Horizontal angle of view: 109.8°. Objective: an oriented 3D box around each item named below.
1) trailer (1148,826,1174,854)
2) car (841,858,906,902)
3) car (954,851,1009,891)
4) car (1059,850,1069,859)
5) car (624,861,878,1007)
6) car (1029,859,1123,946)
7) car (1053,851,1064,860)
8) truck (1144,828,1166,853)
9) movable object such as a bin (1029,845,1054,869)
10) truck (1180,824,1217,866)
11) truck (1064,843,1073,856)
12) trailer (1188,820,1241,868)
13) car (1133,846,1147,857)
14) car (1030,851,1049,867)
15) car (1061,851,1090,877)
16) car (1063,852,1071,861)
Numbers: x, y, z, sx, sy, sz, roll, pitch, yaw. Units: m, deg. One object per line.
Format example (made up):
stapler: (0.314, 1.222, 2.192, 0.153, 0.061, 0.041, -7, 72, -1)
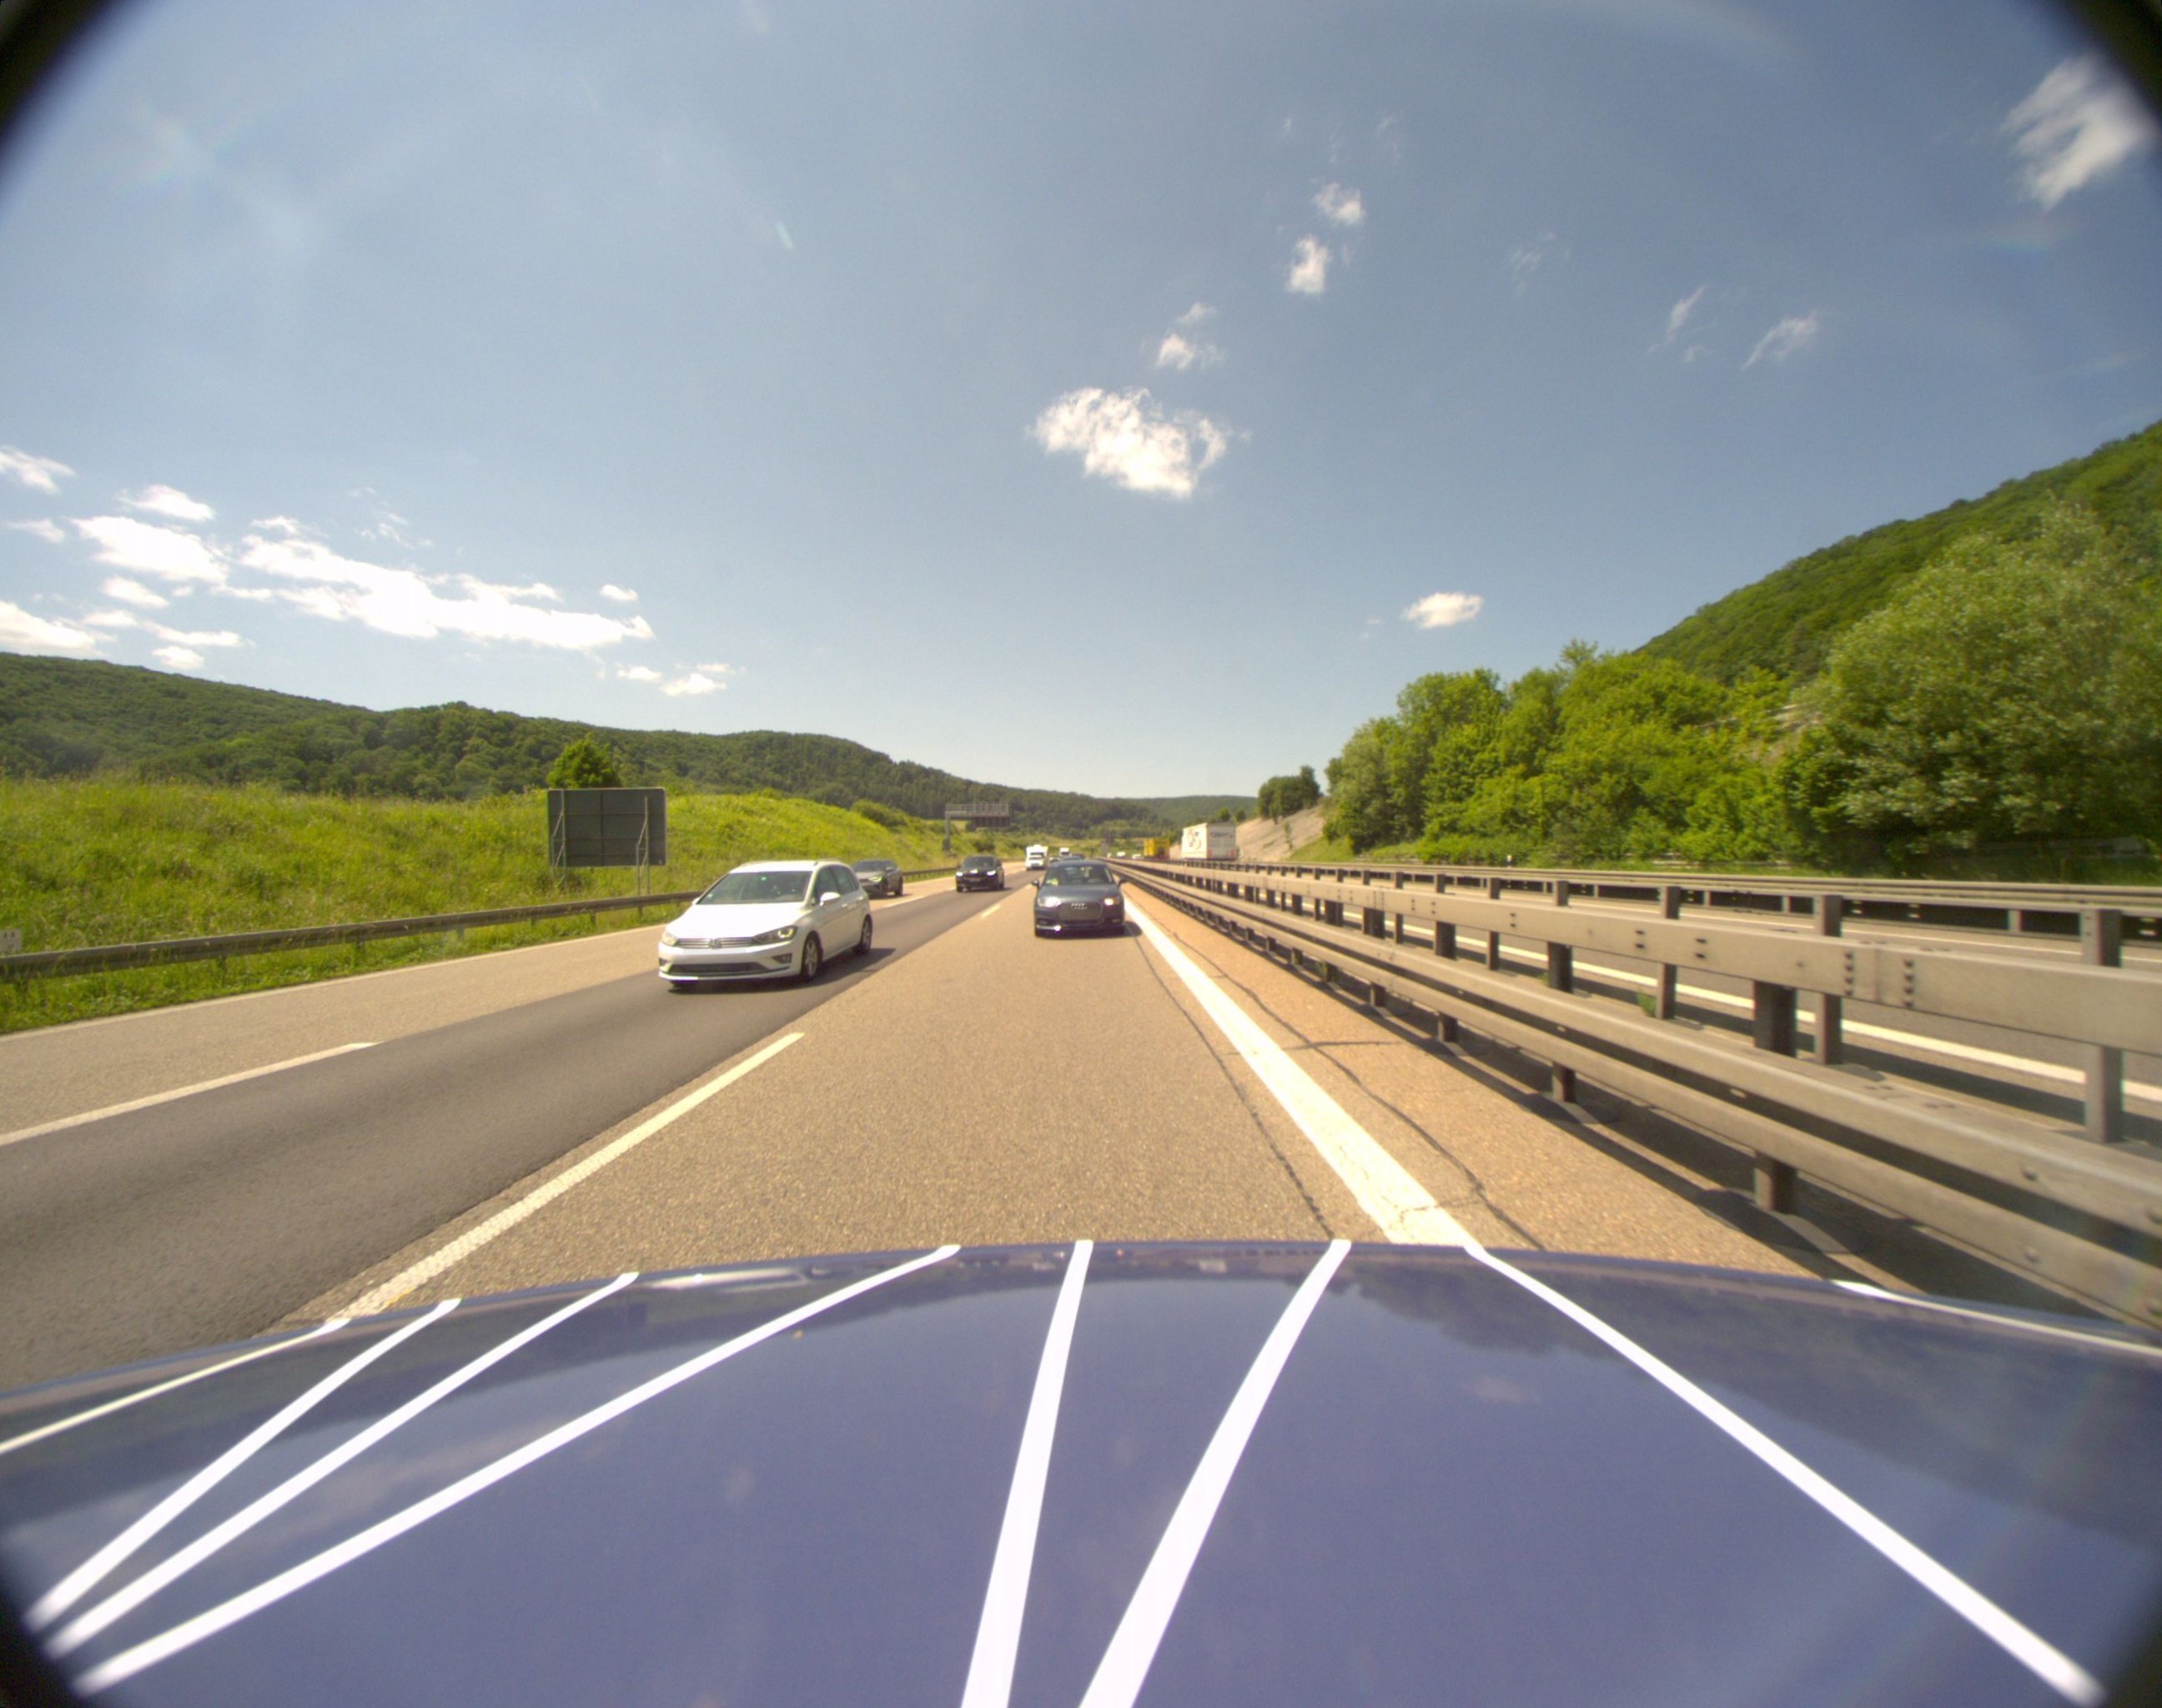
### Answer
trailer: (12.628, -2.139, 120.756, 2.834, 4.123, 10.404, -2, 1, 0)
car: (-8.538, 1.016, 31.608, 1.684, 1.585, 4.247, -2, 1, -3)
car: (-4.568, 0.734, 35.314, 1.893, 1.762, 4.171, -1, 0, 1)
car: (-3.747, 0.102, 165.343, 1.999, 2.002, 4.000, -1, 0, 0)
car: (-4.298, 0.933, 10.678, 1.777, 1.532, 4.053, -2, 1, -1)
car: (0.018, 0.863, 15.255, 1.591, 1.402, 4.000, -2, 1, 3)
car: (-3.922, 0.207, 133.547, 1.711, 1.542, 4.000, -1, 0, 0)
truck: (12.701, -2.230, 130.718, 2.834, 4.123, 9.614, -2, 1, 0)
movable object such as a bin: (-4.540, 0.359, 88.374, 2.481, 2.616, 6.708, -2, 1, 1)
truck: (12.062, -0.921, 78.358, 2.916, 4.078, 5.847, 0, 1, 0)
truck: (-3.706, -1.418, 227.866, 2.336, 3.623, 7.005, -2, 1, 1)
trailer: (12.073, -0.887, 69.921, 2.863, 4.052, 11.261, 0, 0, 0)
car: (8.461, -0.363, 109.352, 1.751, 1.510, 3.999, -2, 1, 0)
car: (-4.427, 0.498, 81.417, 1.821, 1.574, 4.000, -1, 0, 1)
car: (-0.326, 0.626, 50.485, 1.835, 1.586, 4.000, -1, 0, 1)
car: (-3.474, 0.622, 187.781, 1.999, 2.002, 3.999, -2, 1, 0)
